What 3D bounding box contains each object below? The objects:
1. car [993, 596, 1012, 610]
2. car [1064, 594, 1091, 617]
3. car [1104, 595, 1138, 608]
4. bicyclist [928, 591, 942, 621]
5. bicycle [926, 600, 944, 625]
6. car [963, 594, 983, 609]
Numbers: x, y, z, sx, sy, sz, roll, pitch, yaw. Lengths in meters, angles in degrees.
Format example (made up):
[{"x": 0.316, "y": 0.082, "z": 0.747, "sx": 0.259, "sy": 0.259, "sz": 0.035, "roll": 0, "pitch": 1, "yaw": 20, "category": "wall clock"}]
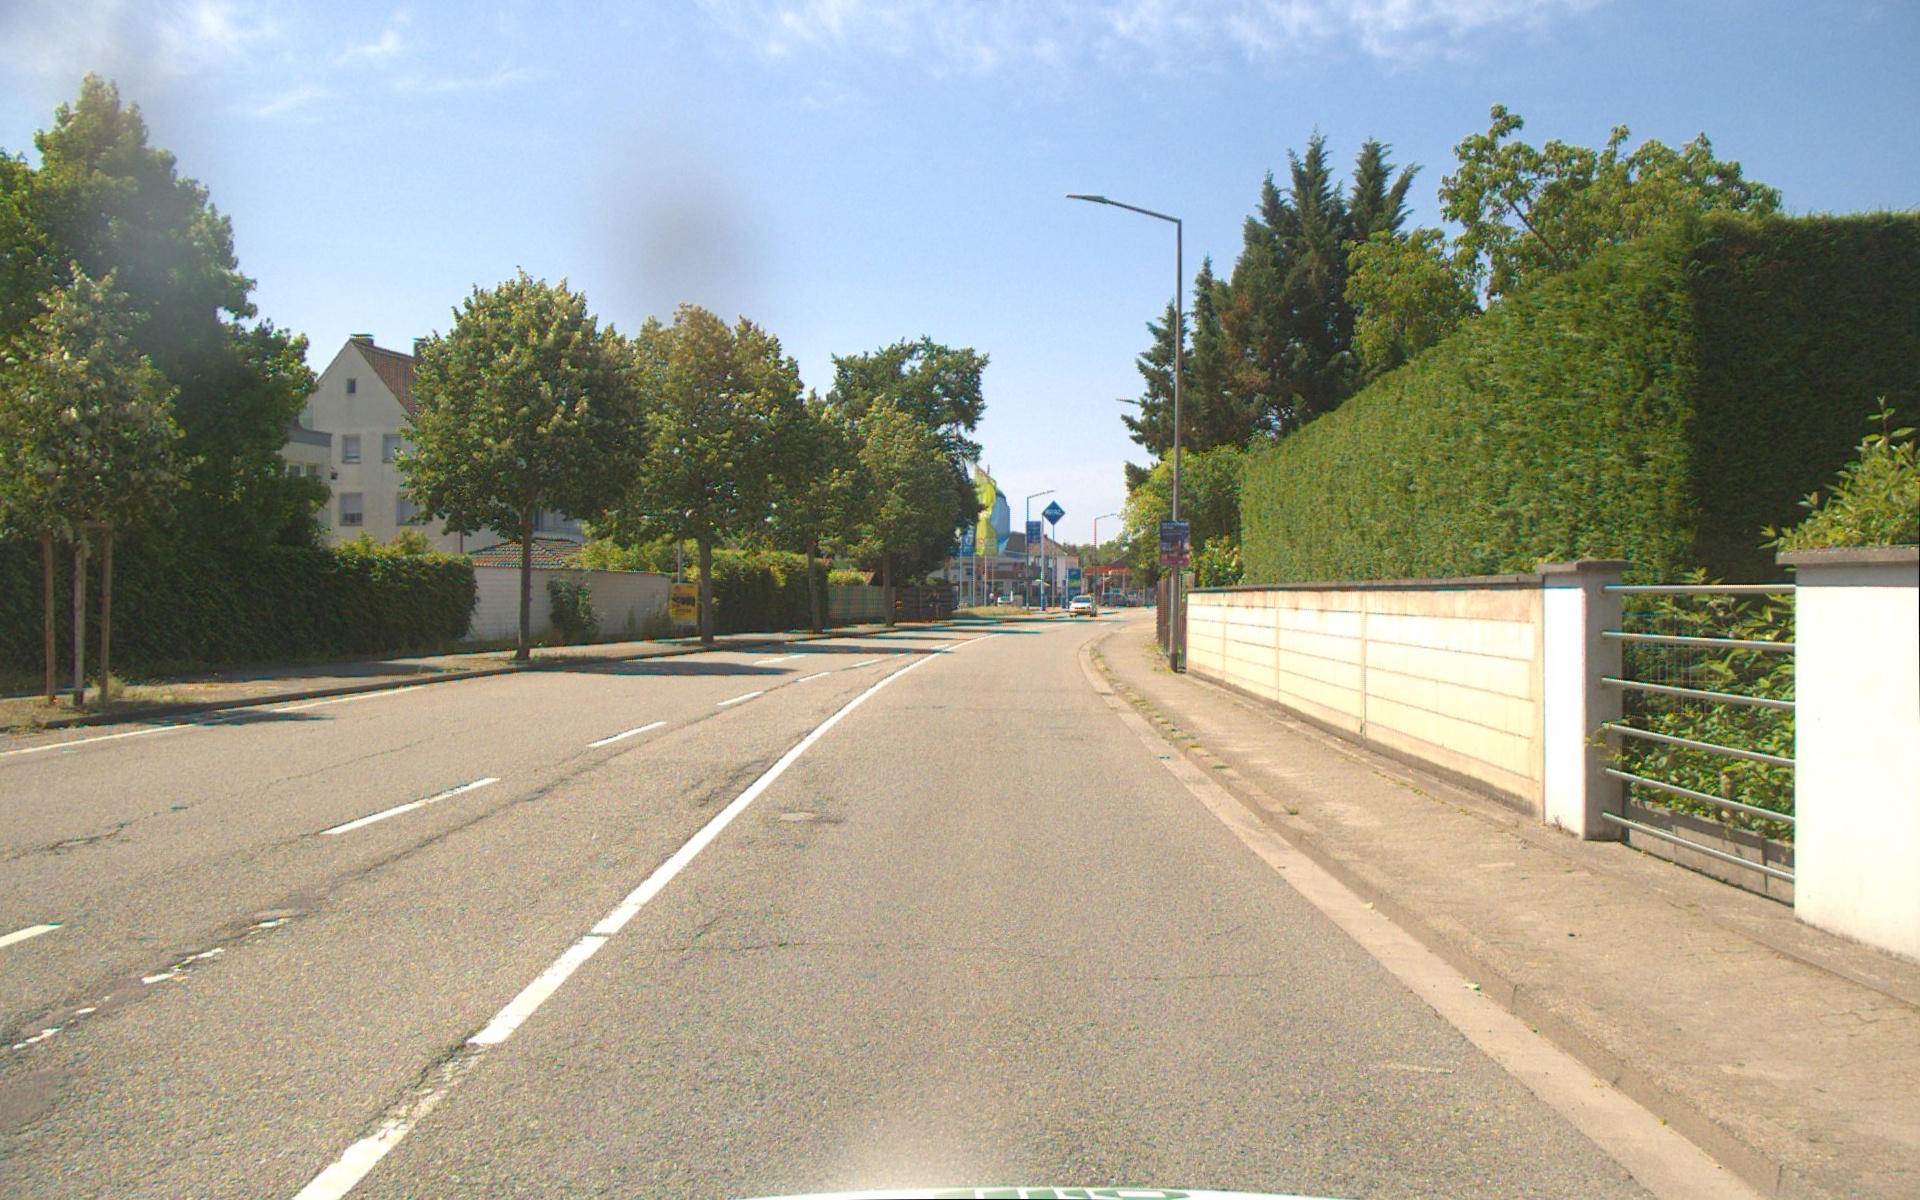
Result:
[{"x": 4.419, "y": 0.322, "z": 172.736, "sx": 1.582, "sy": 1.445, "sz": 3.714, "roll": -1, "pitch": 0, "yaw": 8, "category": "car"}, {"x": 8.240, "y": 0.387, "z": 116.097, "sx": 1.577, "sy": 1.508, "sz": 3.710, "roll": 1, "pitch": 0, "yaw": 8, "category": "car"}, {"x": 19.531, "y": 0.180, "z": 200.673, "sx": 3.902, "sy": 1.534, "sz": 1.556, "roll": 1, "pitch": 0, "yaw": 9, "category": "car"}, {"x": -1.229, "y": 0.302, "z": 81.182, "sx": 0.615, "sy": 1.433, "sz": 0.677, "roll": 0, "pitch": 0, "yaw": 8, "category": "bicyclist"}, {"x": -1.227, "y": 0.592, "z": 81.234, "sx": 0.619, "sy": 1.201, "sz": 1.817, "roll": 0, "pitch": 0, "yaw": 8, "category": "bicycle"}, {"x": 1.391, "y": 0.169, "z": 172.854, "sx": 1.582, "sy": 1.445, "sz": 3.714, "roll": -1, "pitch": 0, "yaw": 8, "category": "car"}]
